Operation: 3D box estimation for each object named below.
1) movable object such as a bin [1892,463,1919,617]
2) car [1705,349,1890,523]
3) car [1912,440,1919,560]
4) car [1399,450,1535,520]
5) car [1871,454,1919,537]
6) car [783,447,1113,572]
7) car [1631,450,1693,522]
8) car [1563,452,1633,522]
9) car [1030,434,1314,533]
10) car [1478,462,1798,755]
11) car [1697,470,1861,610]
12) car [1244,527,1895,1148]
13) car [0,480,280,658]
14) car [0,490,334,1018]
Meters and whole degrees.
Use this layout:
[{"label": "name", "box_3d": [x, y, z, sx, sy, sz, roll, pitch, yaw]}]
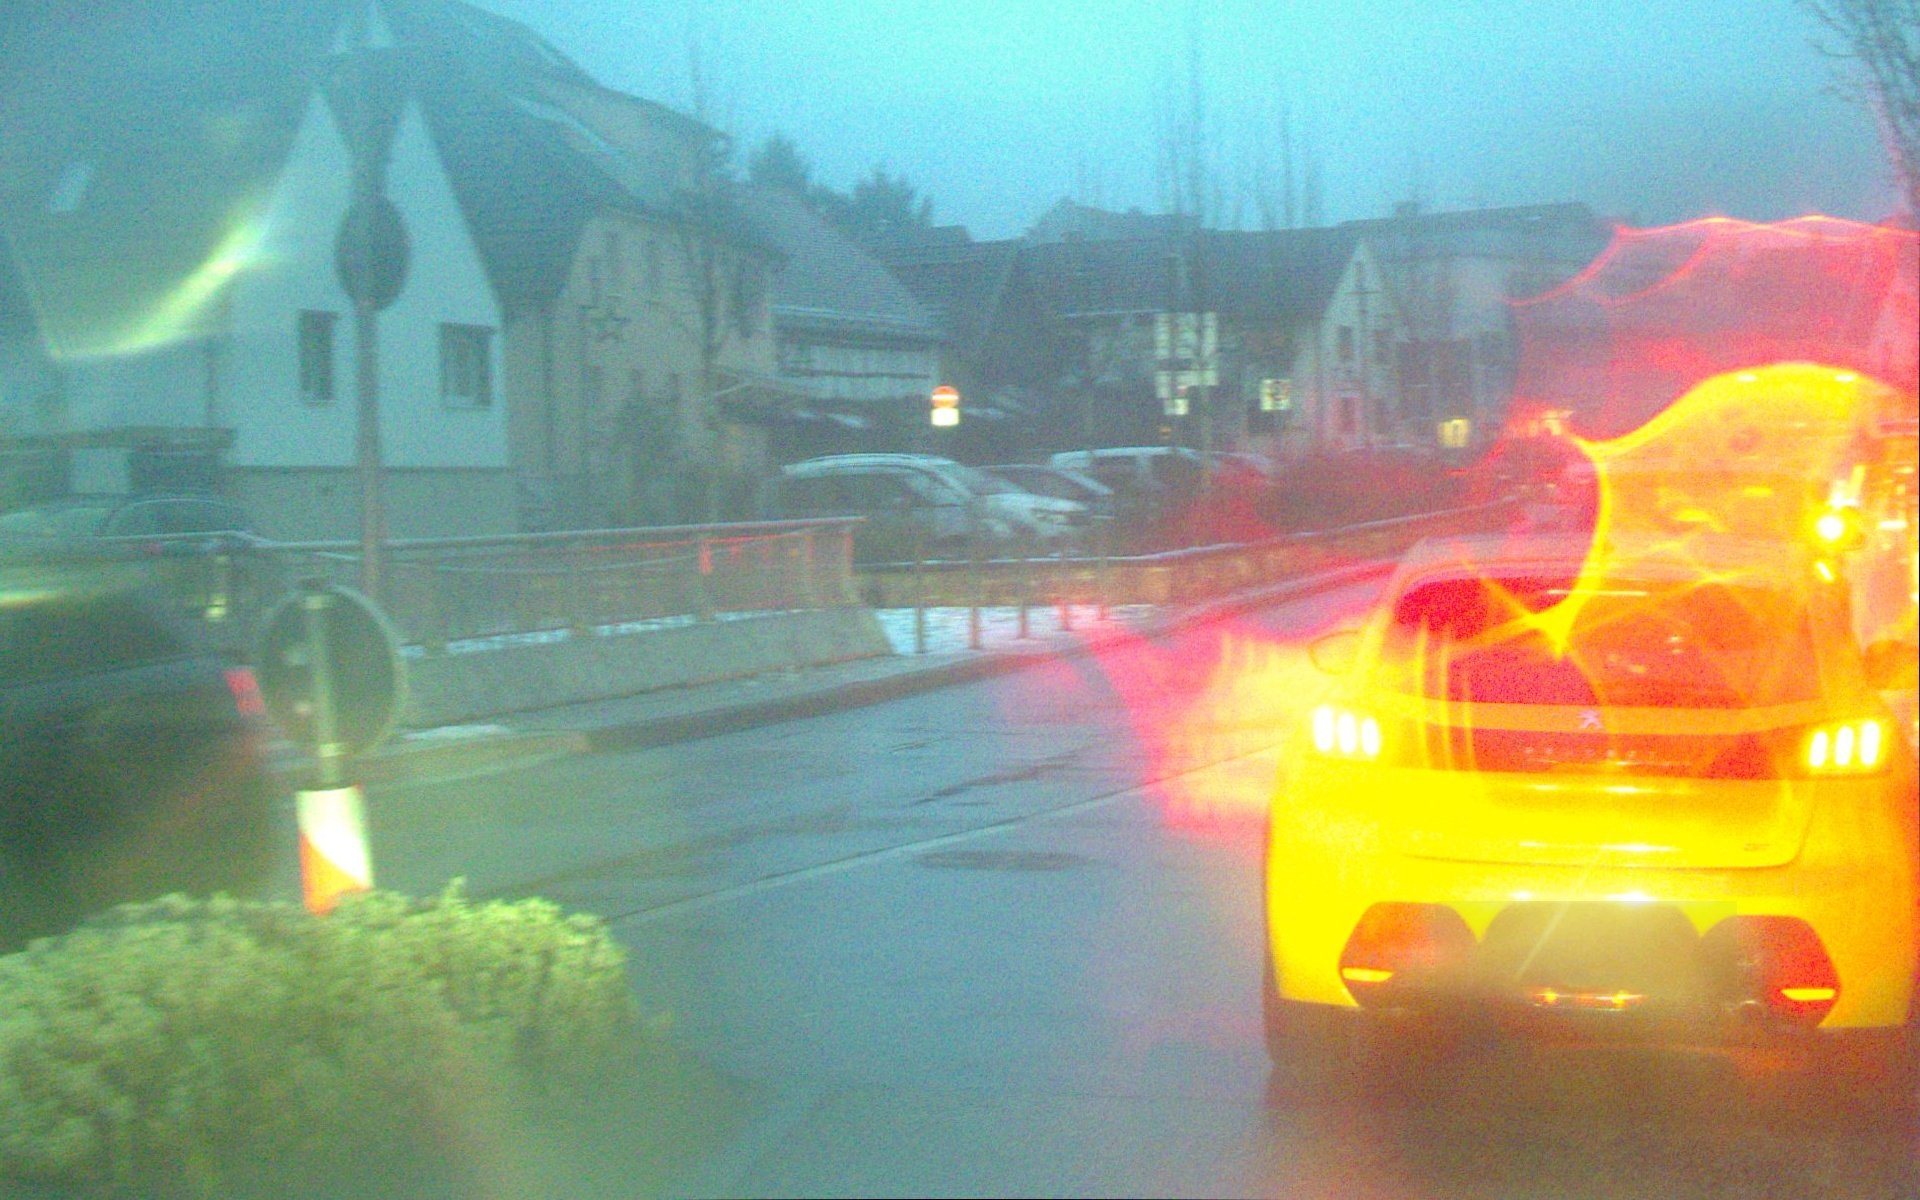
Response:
[{"label": "movable object such as a bin", "box_3d": [9.590, -0.622, 33.012, 1.130, 1.415, 1.416, -4, 2, 16]}, {"label": "car", "box_3d": [15.746, -3.026, 64.915, 3.192, 3.021, 6.302, 1, 1, 13]}, {"label": "car", "box_3d": [14.435, -1.433, 48.536, 1.736, 1.686, 4.384, -1, 2, 13]}, {"label": "car", "box_3d": [16.412, -3.702, 111.513, 1.993, 2.159, 4.386, 1, 1, -32]}, {"label": "car", "box_3d": [22.104, -2.420, 79.440, 1.999, 1.858, 4.080, 0, 2, 14]}, {"label": "car", "box_3d": [-0.142, -1.146, 43.370, 3.797, 1.517, 1.713, 0, 2, 21]}, {"label": "car", "box_3d": [22.706, -3.681, 111.113, 1.920, 2.208, 3.973, 1, 1, 12]}, {"label": "car", "box_3d": [19.288, -3.395, 103.851, 1.920, 2.020, 3.973, 1, 1, 12]}, {"label": "car", "box_3d": [3.674, -1.995, 59.158, 4.628, 1.662, 1.999, 0, 2, 12]}, {"label": "car", "box_3d": [4.300, -0.027, 21.444, 1.767, 1.622, 3.584, 1, 3, 14]}, {"label": "car", "box_3d": [8.445, -0.657, 35.413, 1.542, 1.327, 3.309, 1, 3, 14]}, {"label": "car", "box_3d": [1.841, 0.538, 9.910, 1.564, 1.407, 3.016, 1, 3, 14]}, {"label": "car", "box_3d": [-8.122, -0.302, 31.306, 1.803, 1.477, 4.568, -3, 1, 16]}, {"label": "car", "box_3d": [-3.598, 0.442, 9.949, 1.704, 1.498, 3.894, 0, 2, 22]}]
